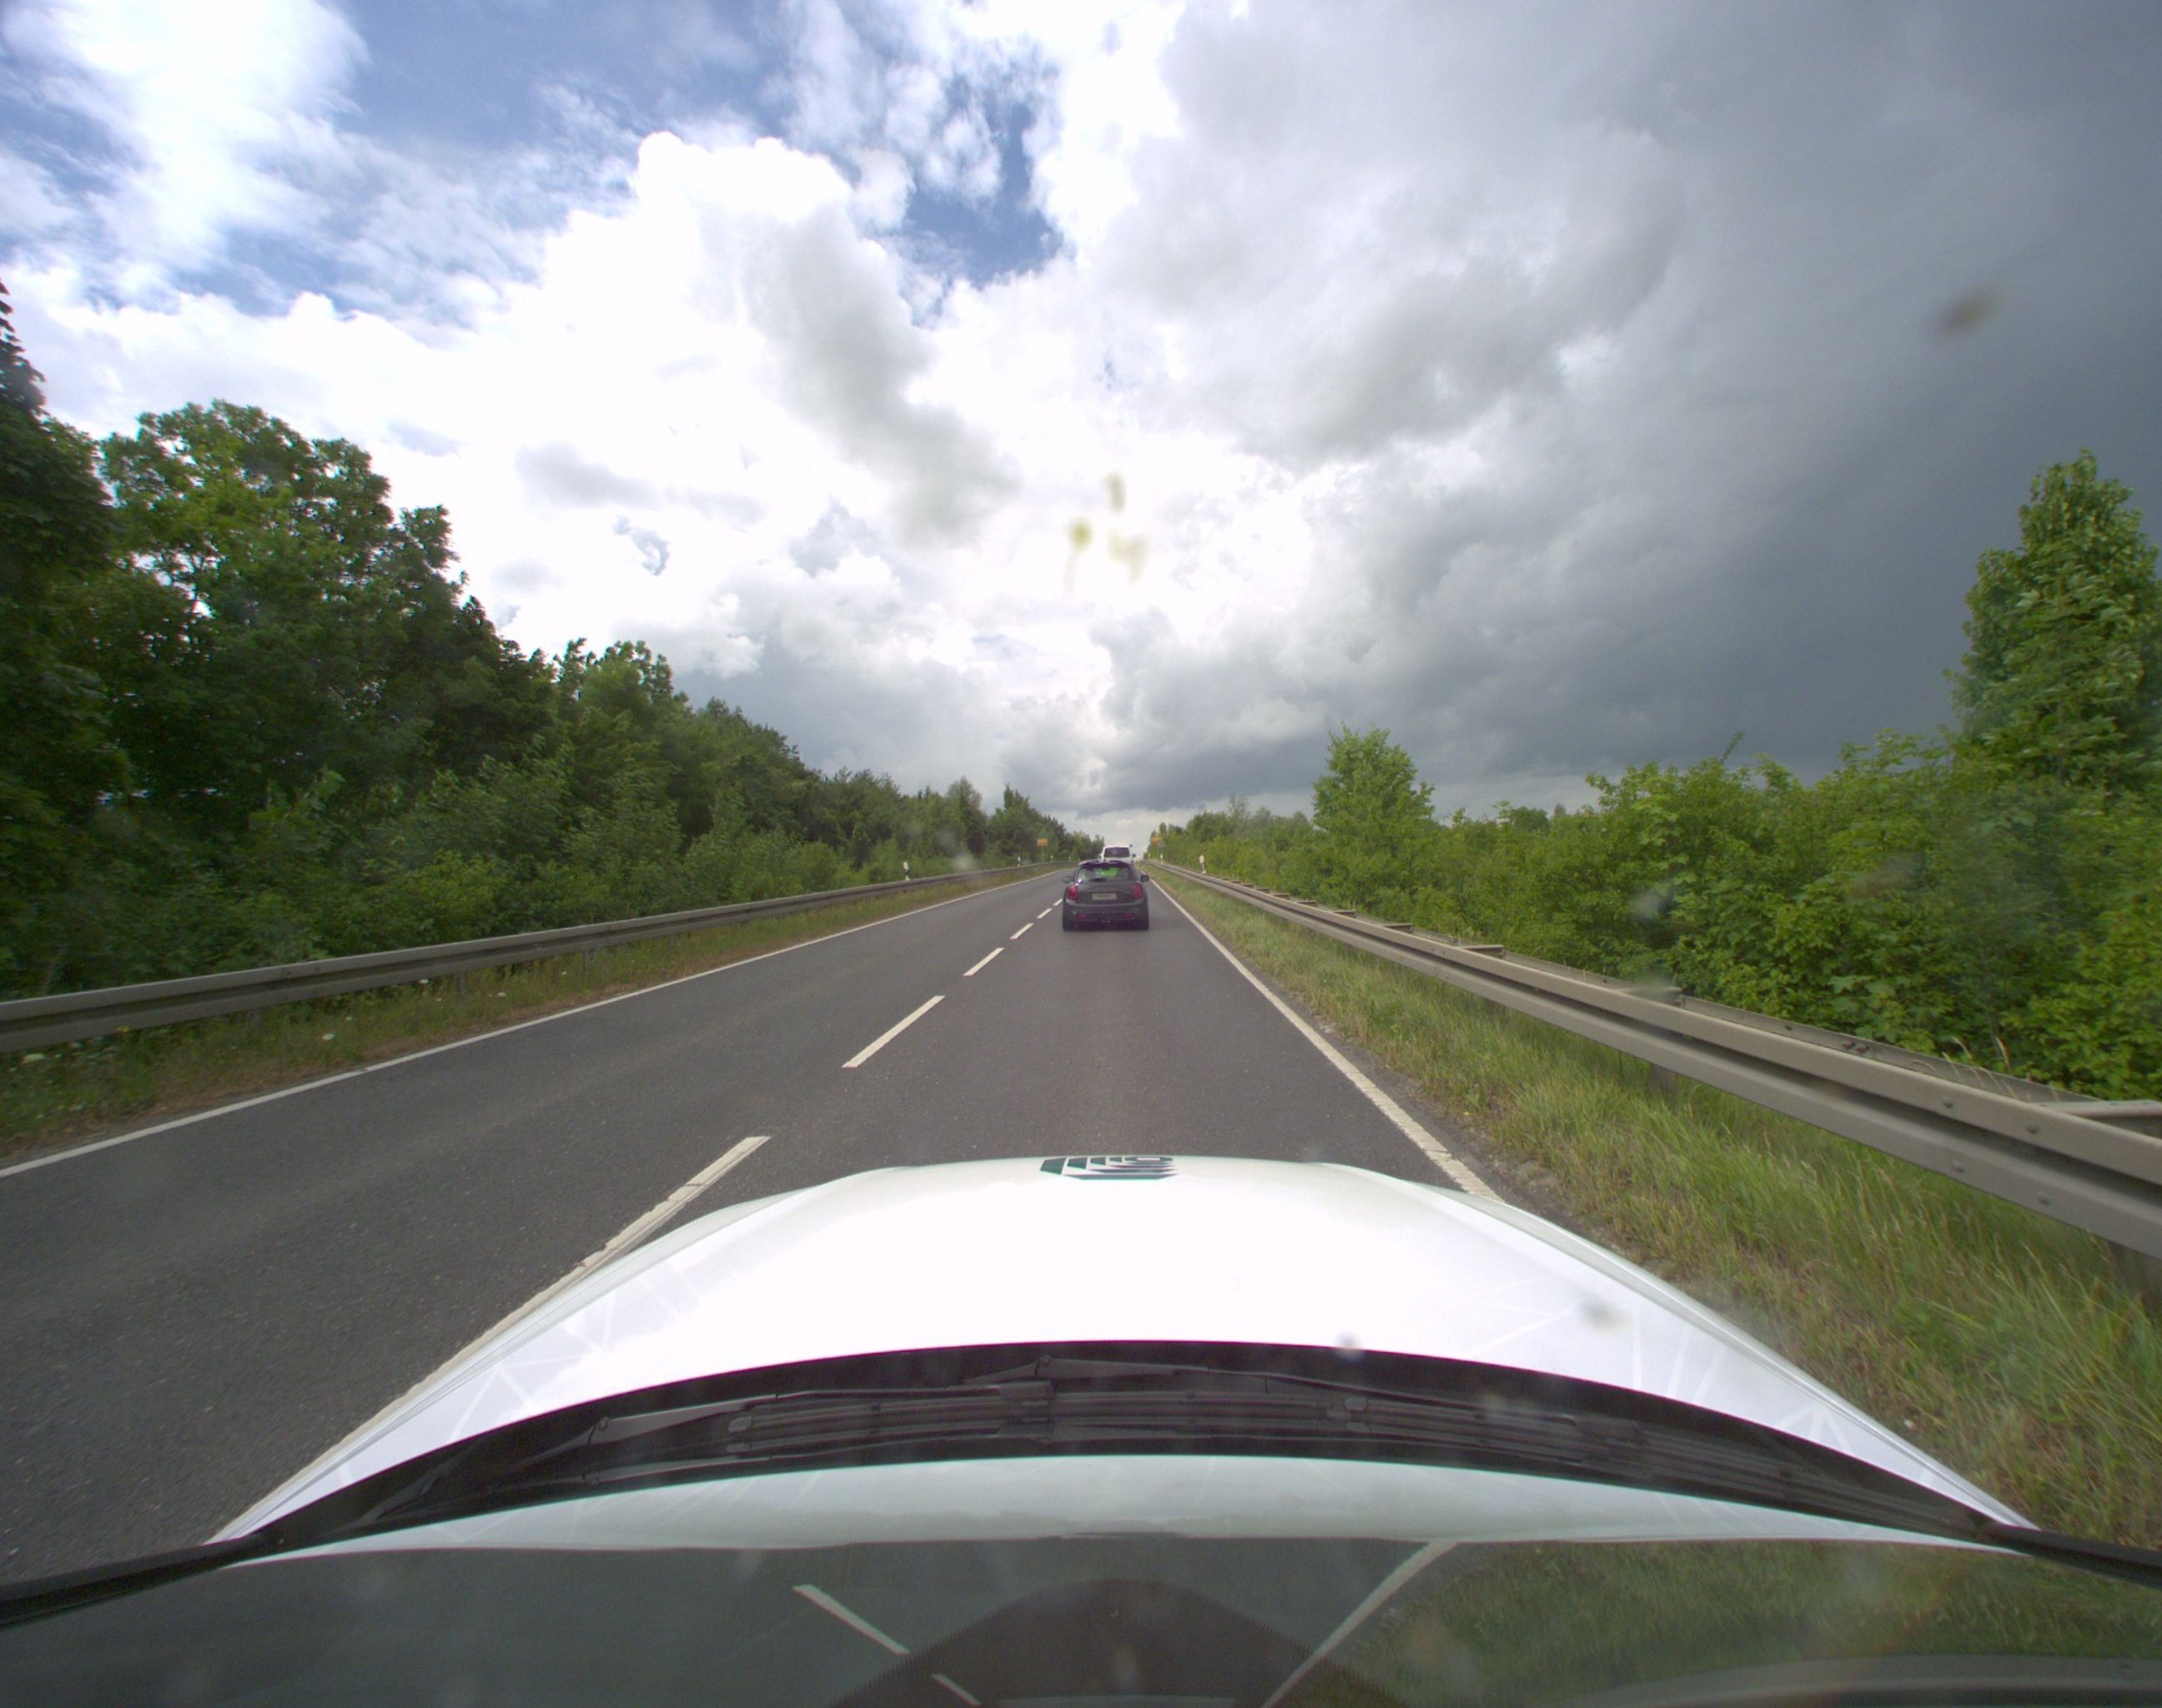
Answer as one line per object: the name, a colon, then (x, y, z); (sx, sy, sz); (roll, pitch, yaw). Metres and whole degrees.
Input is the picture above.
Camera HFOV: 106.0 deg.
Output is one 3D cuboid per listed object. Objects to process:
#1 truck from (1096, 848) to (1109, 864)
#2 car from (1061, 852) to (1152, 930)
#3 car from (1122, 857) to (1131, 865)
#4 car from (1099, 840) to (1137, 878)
truck: (3.939, 0.349, 150.515); (2.056, 2.742, 7.014); (0, 0, 4)
car: (0.507, 0.710, 17.811); (1.726, 1.455, 4.000); (-1, 0, 0)
car: (8.618, 1.295, 154.055); (1.686, 1.319, 4.005); (-3, 0, 5)
car: (2.130, 0.282, 46.380); (2.014, 2.013, 4.003); (-1, 0, 3)
